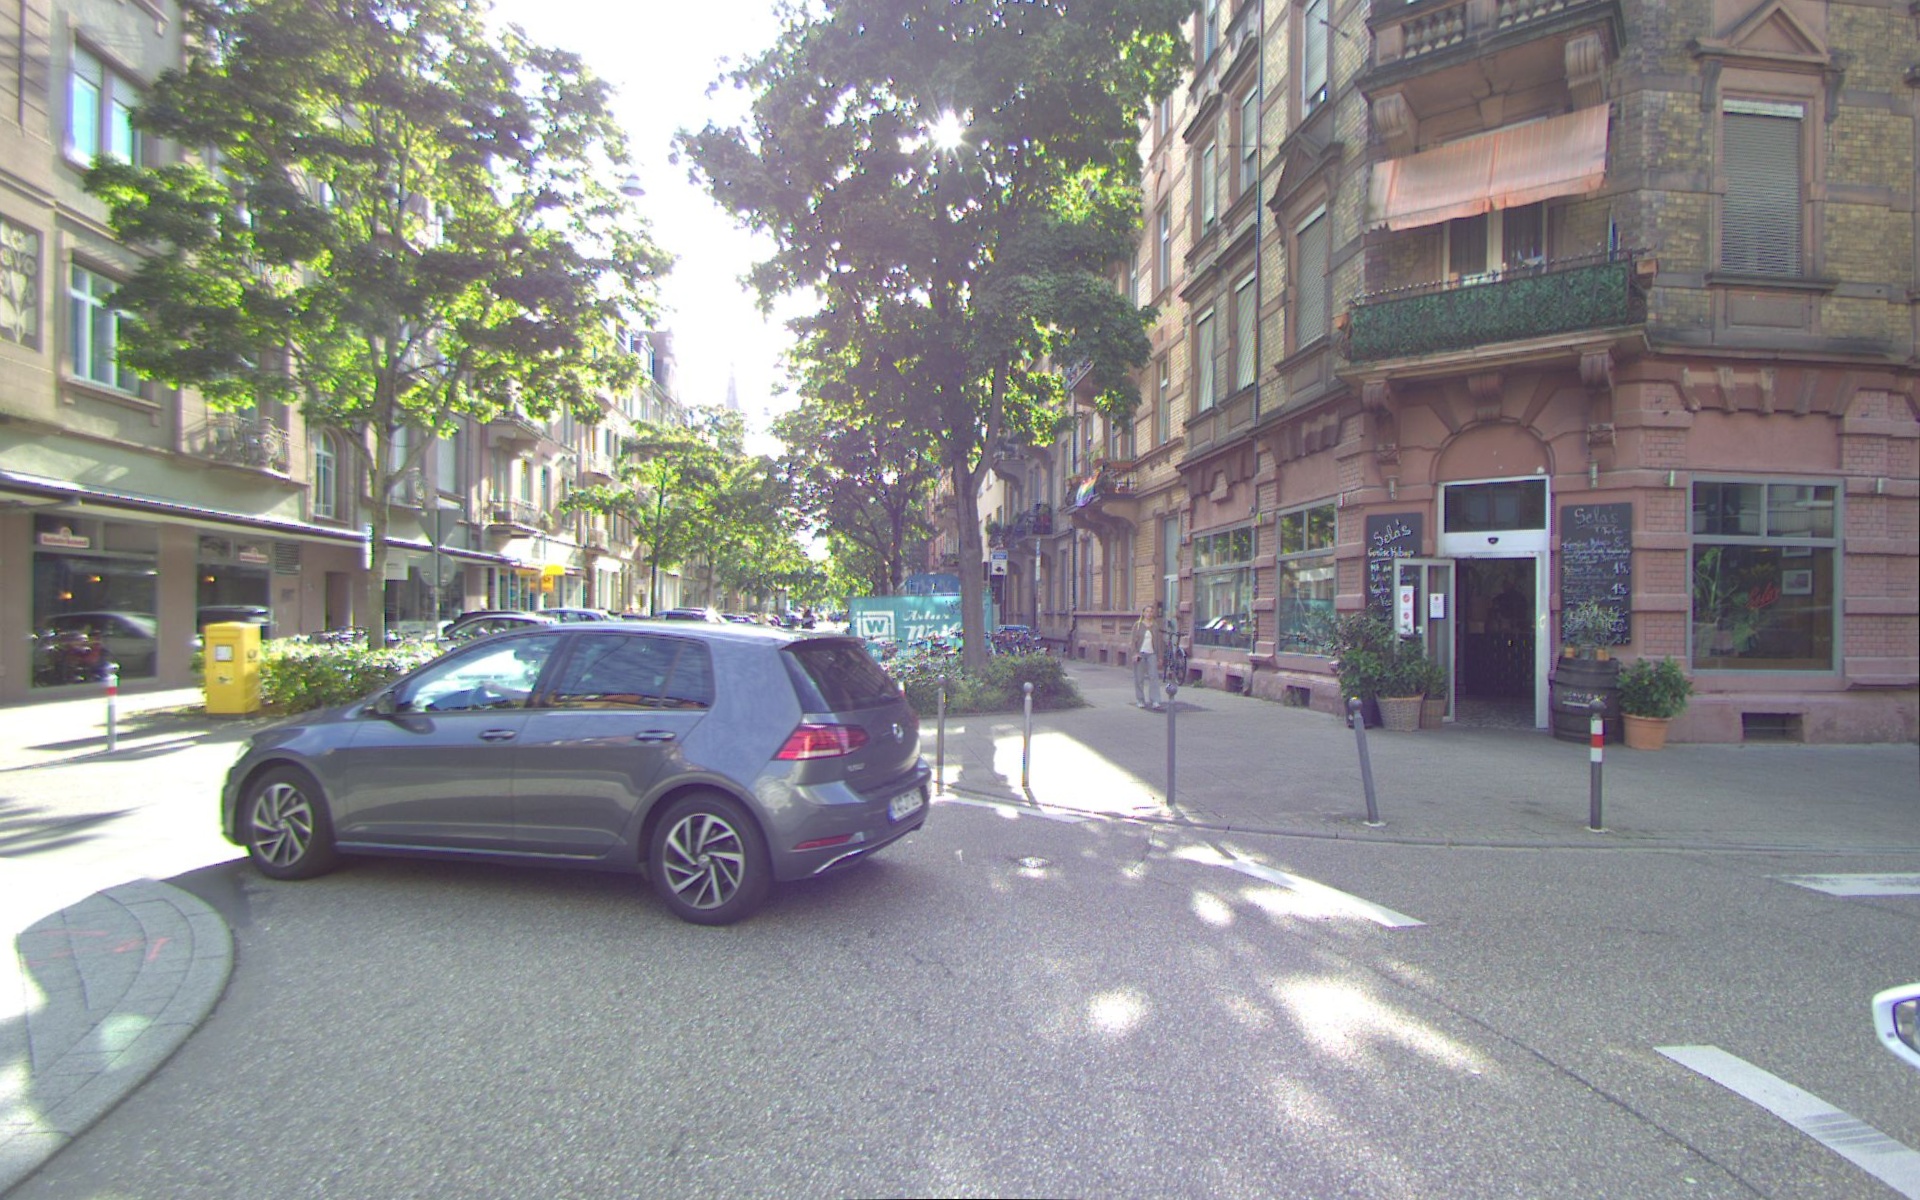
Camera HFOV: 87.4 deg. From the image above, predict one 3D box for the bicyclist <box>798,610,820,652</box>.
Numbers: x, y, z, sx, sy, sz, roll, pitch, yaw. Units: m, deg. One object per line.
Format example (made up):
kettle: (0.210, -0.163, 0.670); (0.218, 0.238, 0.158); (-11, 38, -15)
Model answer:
bicyclist: (-5.949, 1.221, 39.694); (0.679, 1.608, 1.128); (1, 1, -1)

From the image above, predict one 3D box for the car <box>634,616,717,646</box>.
car: (-12.432, 1.351, 43.956); (3.276, 1.270, 1.376); (0, -2, -6)

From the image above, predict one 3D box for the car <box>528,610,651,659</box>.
car: (-11.363, 1.063, 30.961); (3.276, 1.462, 1.376); (0, -2, -6)

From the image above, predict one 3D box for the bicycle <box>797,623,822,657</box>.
bicycle: (-5.950, 1.573, 39.769); (0.679, 1.215, 1.977); (1, 1, -1)

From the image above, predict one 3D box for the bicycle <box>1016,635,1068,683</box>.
bicycle: (1.825, 1.303, 22.651); (0.581, 0.981, 2.072); (-1, 0, -12)

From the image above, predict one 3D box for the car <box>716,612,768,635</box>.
car: (-14.766, 1.604, 68.058); (3.276, 1.495, 1.406); (0, -2, -6)

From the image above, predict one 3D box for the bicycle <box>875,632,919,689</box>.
bicycle: (-1.305, 1.209, 20.513); (0.581, 1.043, 2.072); (-1, 0, -12)

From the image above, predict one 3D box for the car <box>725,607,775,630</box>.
car: (-14.927, 1.317, 71.488); (3.296, 1.615, 1.595); (0, 1, -5)

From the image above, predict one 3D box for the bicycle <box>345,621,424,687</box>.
bicycle: (-10.995, 0.996, 19.284); (0.470, 1.149, 2.428); (1, -1, -9)

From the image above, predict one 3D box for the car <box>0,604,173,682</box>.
car: (-19.516, 0.879, 21.394); (3.935, 1.572, 1.760); (0, 1, -17)

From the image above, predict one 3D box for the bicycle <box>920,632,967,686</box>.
bicycle: (-0.364, 1.209, 21.118); (0.581, 1.025, 2.072); (-1, 0, -12)

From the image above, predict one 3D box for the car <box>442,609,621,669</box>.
car: (-11.112, 0.994, 26.258); (3.997, 1.496, 1.575); (0, 1, -6)

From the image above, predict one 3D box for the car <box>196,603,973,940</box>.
car: (-2.058, 0.805, 5.881); (3.919, 1.456, 1.798); (1, -2, 16)

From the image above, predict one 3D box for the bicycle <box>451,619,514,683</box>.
bicycle: (-9.307, 0.967, 19.656); (0.470, 1.173, 2.288); (1, -1, -9)

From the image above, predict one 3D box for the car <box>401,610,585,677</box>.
car: (-10.979, 1.009, 23.803); (3.628, 1.496, 1.576); (0, 1, -4)

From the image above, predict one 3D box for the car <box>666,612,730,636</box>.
car: (-14.544, 1.334, 55.860); (3.276, 1.333, 1.406); (0, -2, -6)

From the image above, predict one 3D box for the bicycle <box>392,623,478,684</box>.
bicycle: (-10.739, 1.055, 20.648); (0.695, 1.117, 2.511); (-1, 0, -6)

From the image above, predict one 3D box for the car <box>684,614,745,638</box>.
car: (-14.317, 1.532, 58.713); (3.276, 1.333, 1.406); (0, -2, -6)

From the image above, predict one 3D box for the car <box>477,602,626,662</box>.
car: (-11.611, 0.900, 28.747); (3.629, 1.618, 1.575); (0, 1, -6)

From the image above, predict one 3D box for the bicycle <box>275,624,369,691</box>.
bicycle: (-12.072, 1.059, 19.098); (0.569, 1.149, 2.428); (1, -1, -9)

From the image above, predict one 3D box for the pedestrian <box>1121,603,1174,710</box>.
pedestrian: (2.930, 0.866, 15.767); (0.603, 1.599, 0.809); (-2, 1, -2)

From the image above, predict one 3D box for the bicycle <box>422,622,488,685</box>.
bicycle: (-9.804, 1.013, 19.564); (0.470, 1.149, 2.260); (1, -1, -9)

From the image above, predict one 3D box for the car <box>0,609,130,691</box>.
car: (-18.429, 0.914, 18.894); (3.935, 1.449, 1.760); (0, 1, -17)

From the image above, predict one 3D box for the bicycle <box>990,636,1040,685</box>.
bicycle: (1.186, 1.307, 22.159); (0.581, 0.981, 2.072); (-1, 0, -12)

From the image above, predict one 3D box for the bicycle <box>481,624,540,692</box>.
bicycle: (-8.792, 1.100, 19.731); (0.470, 1.240, 2.290); (1, -1, -9)

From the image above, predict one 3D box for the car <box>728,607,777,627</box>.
car: (-16.131, 1.325, 78.157); (3.651, 1.492, 1.801); (0, 1, -12)

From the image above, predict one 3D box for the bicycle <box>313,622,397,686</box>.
bicycle: (-11.516, 0.994, 19.195); (0.470, 1.149, 2.428); (1, -1, -9)

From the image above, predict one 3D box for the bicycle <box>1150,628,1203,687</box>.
bicycle: (4.351, 1.134, 20.289); (0.518, 1.081, 1.781); (1, 0, -6)

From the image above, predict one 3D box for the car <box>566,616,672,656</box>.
car: (-12.009, 1.274, 35.507); (3.276, 1.350, 1.376); (0, -2, -6)

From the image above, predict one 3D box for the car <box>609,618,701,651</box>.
car: (-12.161, 1.388, 40.181); (3.276, 1.270, 1.376); (0, -2, -6)

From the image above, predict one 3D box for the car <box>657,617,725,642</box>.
car: (-14.088, 1.556, 52.717); (3.276, 1.333, 1.406); (0, -2, -6)

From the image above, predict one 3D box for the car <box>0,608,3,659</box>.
car: (-30.269, 1.047, 29.209); (1.548, 1.587, 3.631); (0, 1, -4)

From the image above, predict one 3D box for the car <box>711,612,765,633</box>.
car: (-14.417, 1.474, 65.365); (3.276, 1.333, 1.406); (0, -2, -6)

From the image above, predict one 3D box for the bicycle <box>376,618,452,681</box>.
bicycle: (-10.478, 0.916, 19.364); (0.470, 1.149, 2.428); (1, -1, -9)

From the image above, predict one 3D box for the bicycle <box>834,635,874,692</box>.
bicycle: (-2.183, 1.261, 20.540); (0.581, 1.043, 2.137); (-1, 0, -12)

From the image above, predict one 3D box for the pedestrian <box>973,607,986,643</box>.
pedestrian: (0.934, 1.180, 47.818); (0.559, 1.705, 0.626); (0, -1, 4)

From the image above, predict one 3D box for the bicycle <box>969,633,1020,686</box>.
bicycle: (0.710, 1.238, 21.421); (0.581, 1.025, 2.072); (-1, 0, -12)
